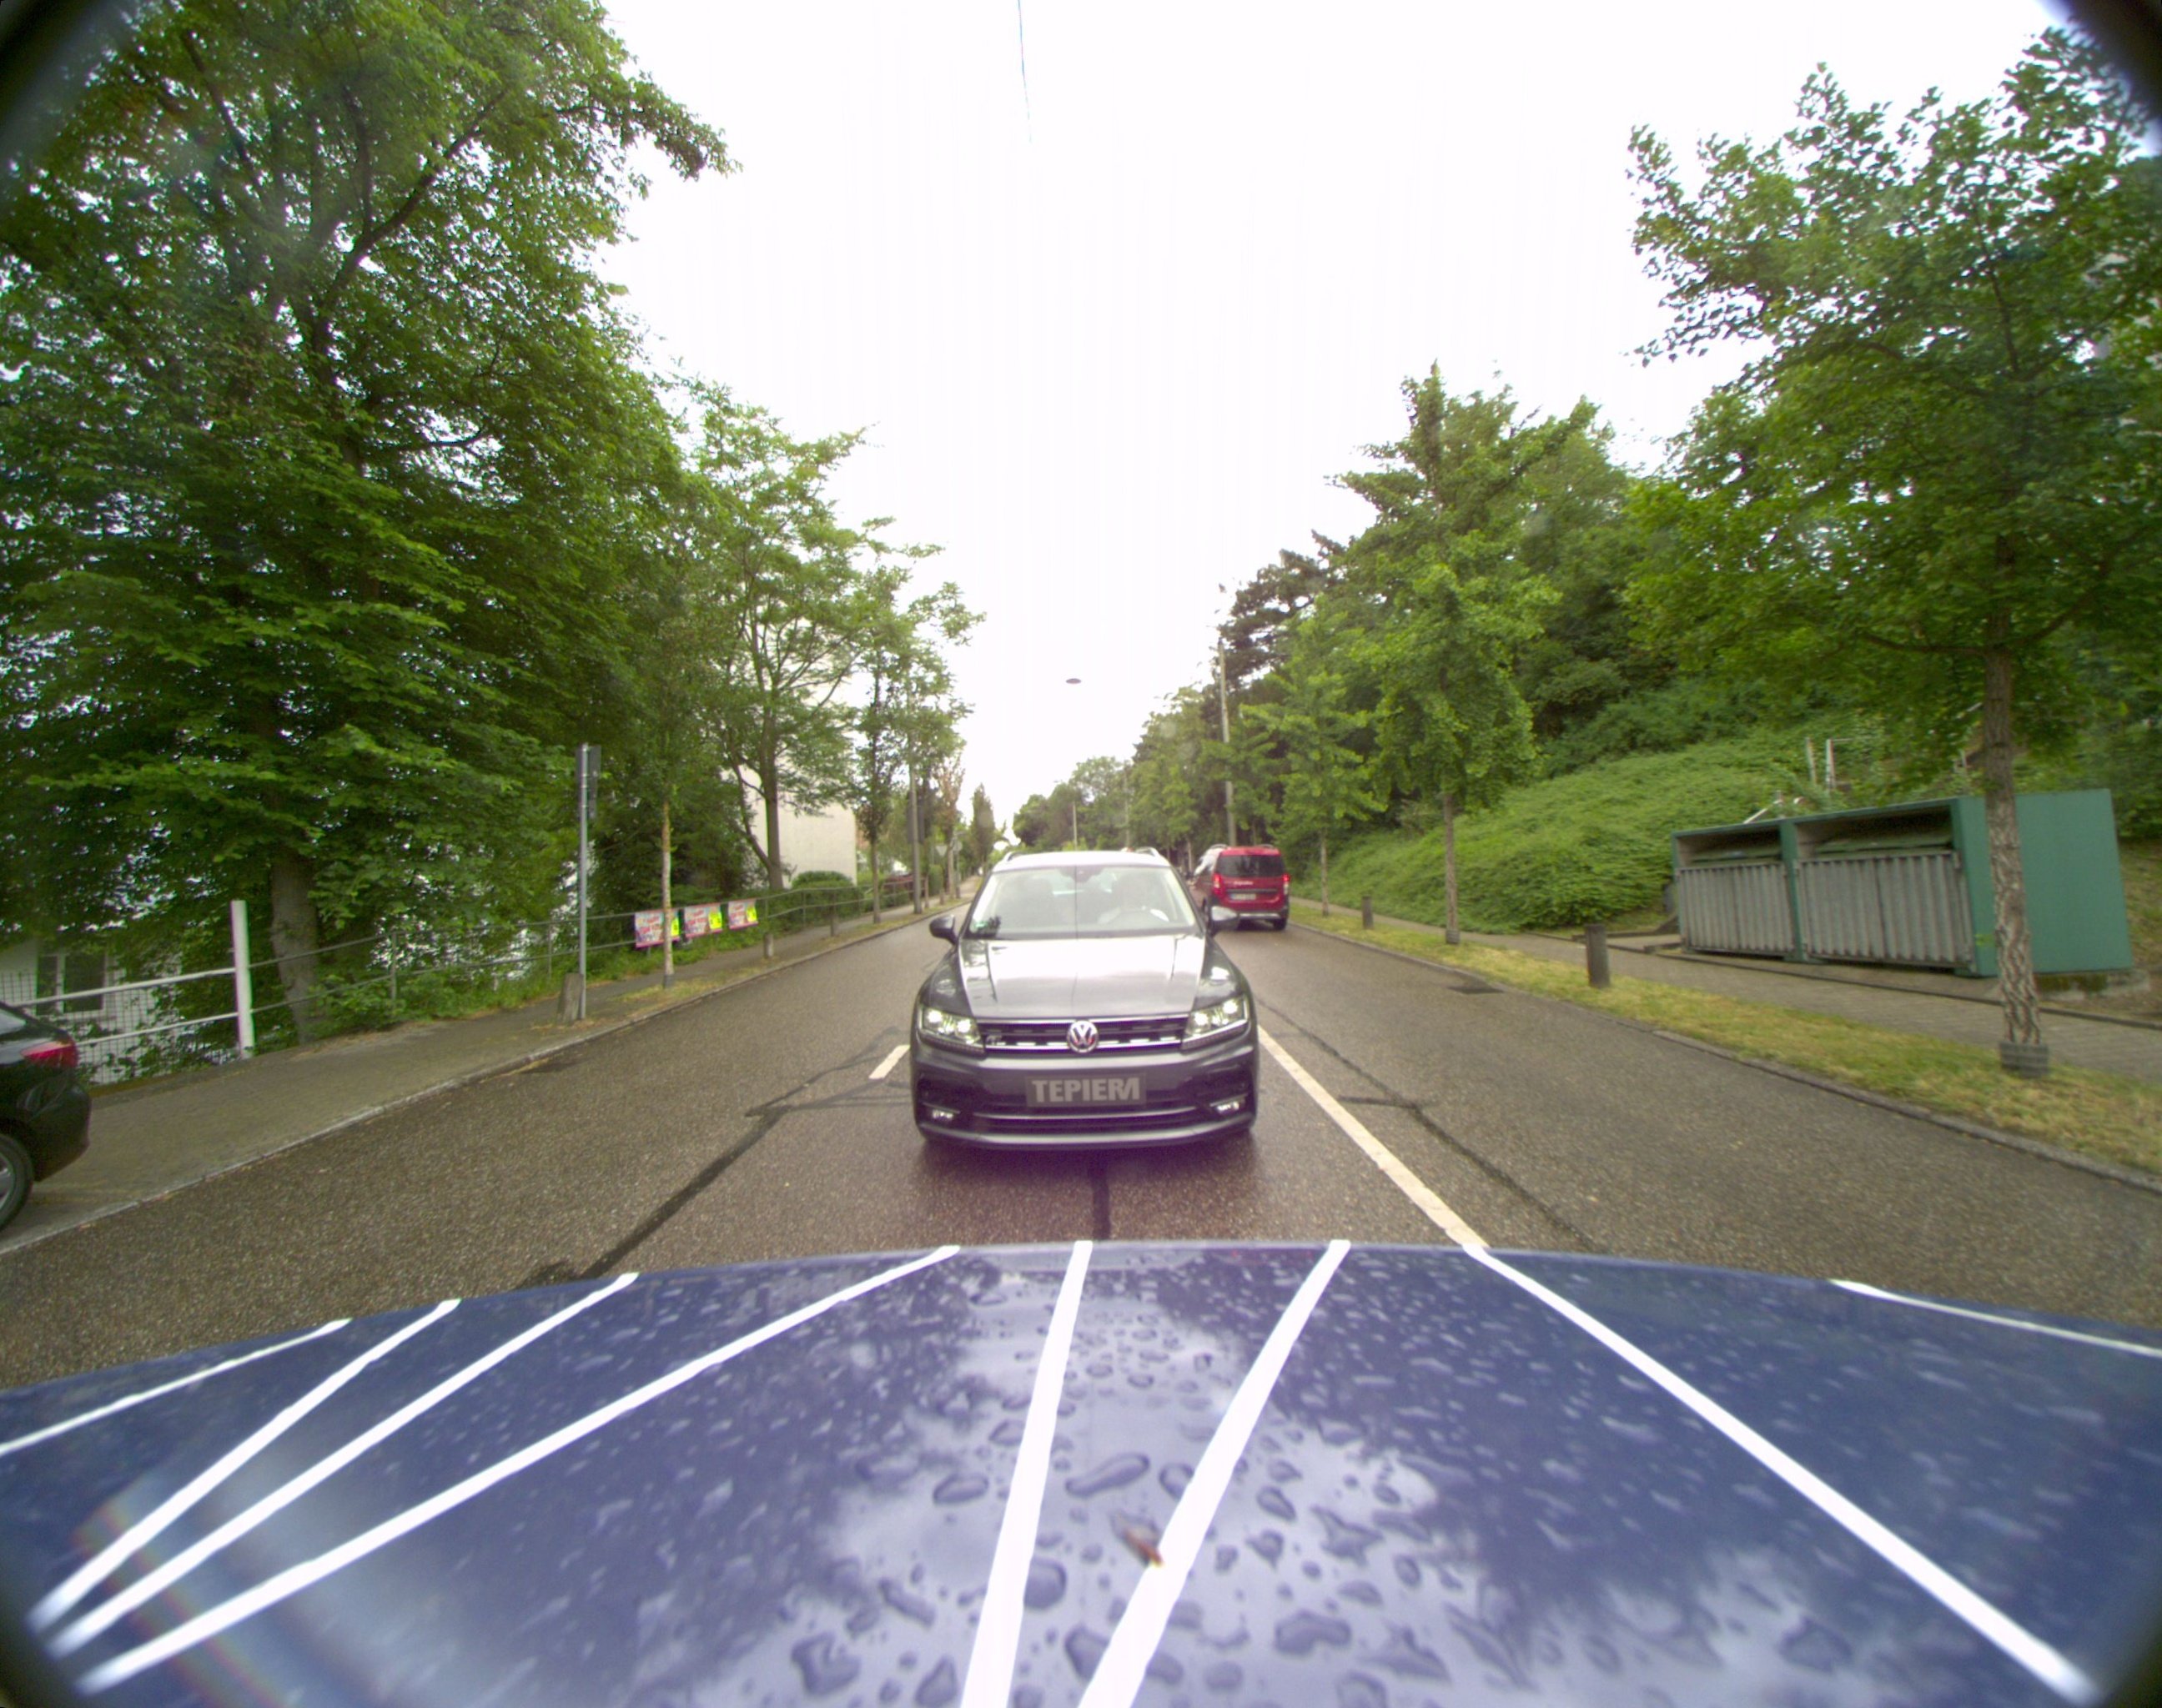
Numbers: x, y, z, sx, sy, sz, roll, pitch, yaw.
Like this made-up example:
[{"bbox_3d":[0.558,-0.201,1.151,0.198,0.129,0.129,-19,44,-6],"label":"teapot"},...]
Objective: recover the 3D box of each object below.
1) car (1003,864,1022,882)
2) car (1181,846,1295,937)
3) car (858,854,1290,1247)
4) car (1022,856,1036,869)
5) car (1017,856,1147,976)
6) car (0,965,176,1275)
[{"bbox_3d":[-7.383,1.995,81.300,1.893,1.710,4.234,-1,1,-7],"label":"car"},{"bbox_3d":[3.450,0.739,17.523,1.751,1.817,4.458,-1,1,1],"label":"car"},{"bbox_3d":[0.000,0.875,5.504,1.834,1.608,4.292,-3,1,1],"label":"car"},{"bbox_3d":[-8.421,1.331,123.504,1.835,2.003,4.054,-3,1,-9],"label":"car"},{"bbox_3d":[0.041,0.923,13.347,1.834,1.608,4.350,-3,1,1],"label":"car"},{"bbox_3d":[-6.328,1.386,2.246,1.999,1.426,4.442,-1,0,-1],"label":"car"}]
